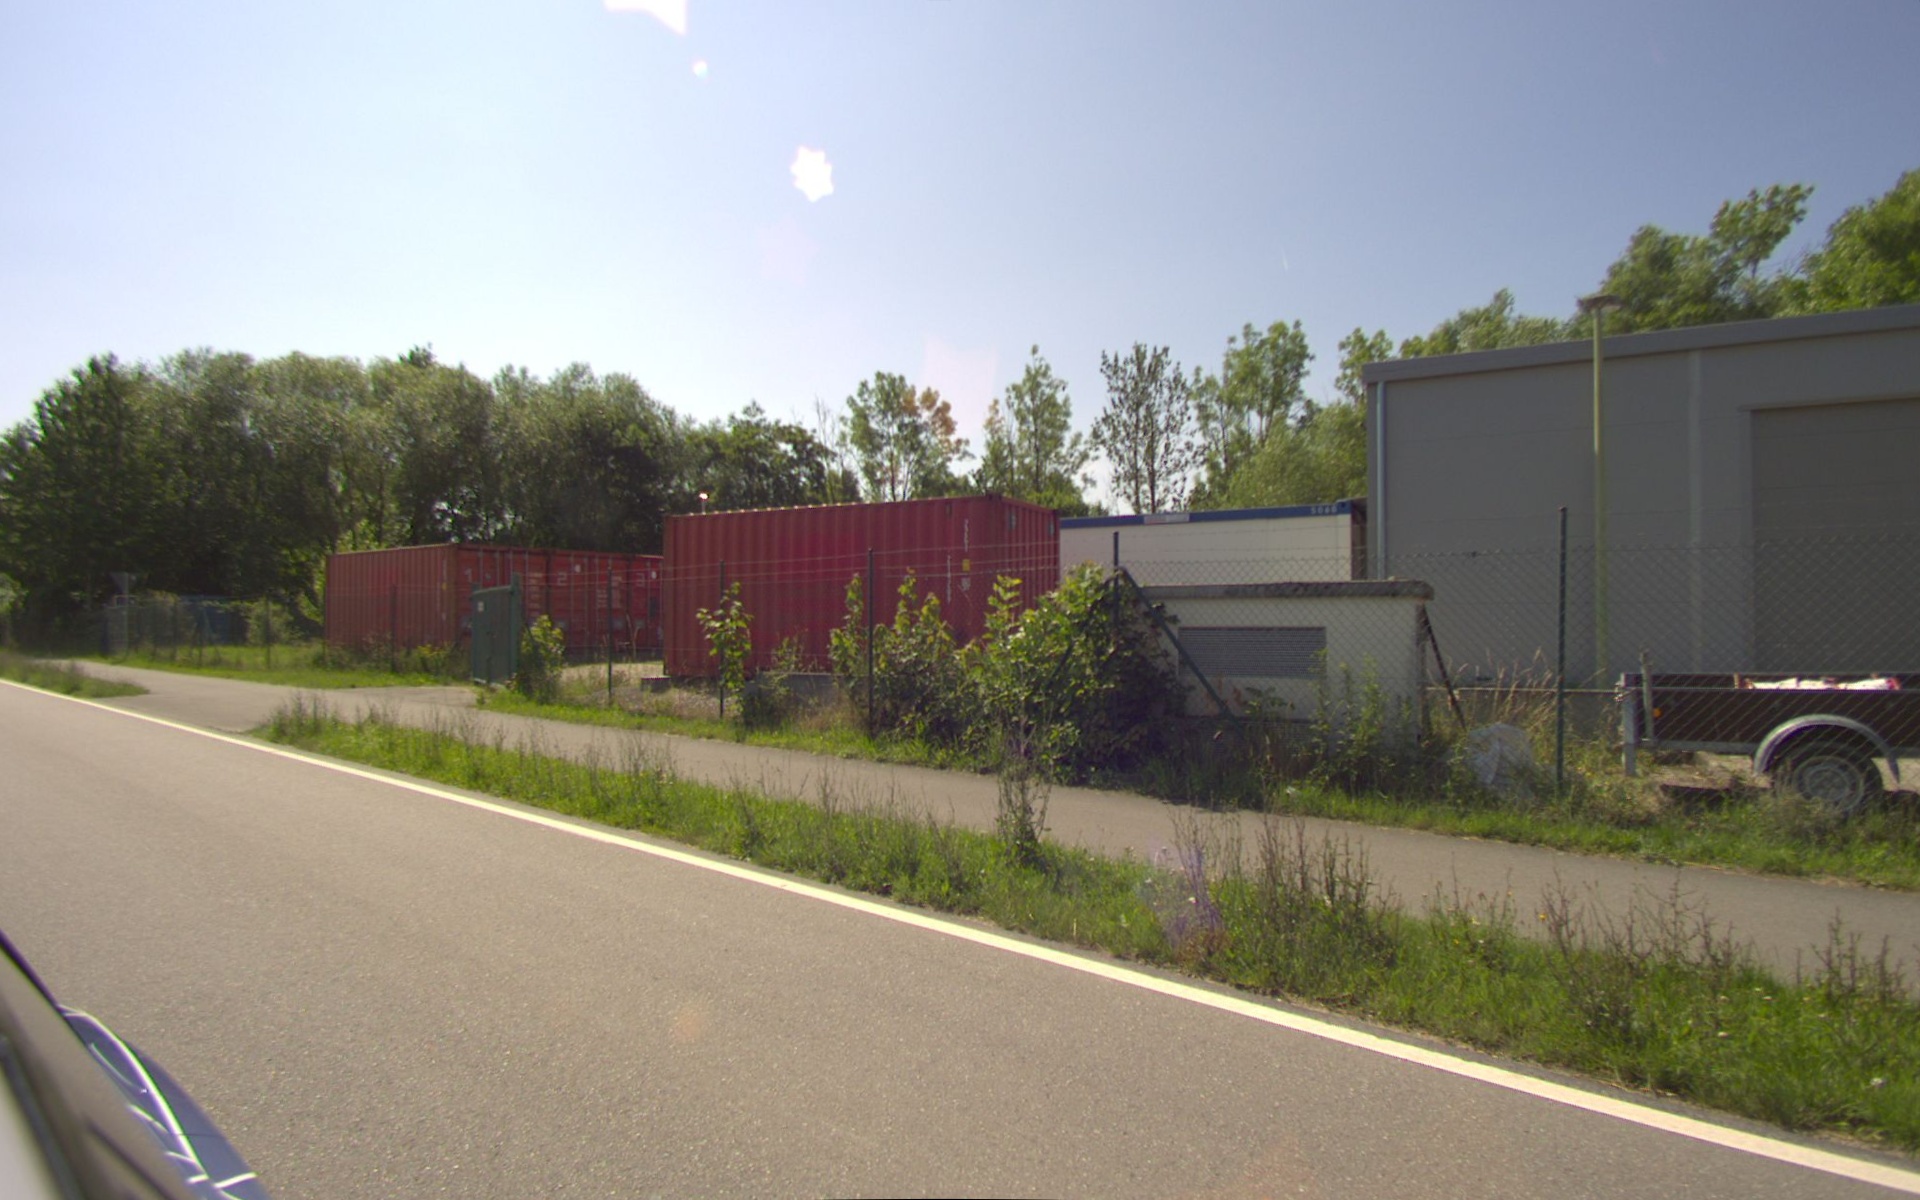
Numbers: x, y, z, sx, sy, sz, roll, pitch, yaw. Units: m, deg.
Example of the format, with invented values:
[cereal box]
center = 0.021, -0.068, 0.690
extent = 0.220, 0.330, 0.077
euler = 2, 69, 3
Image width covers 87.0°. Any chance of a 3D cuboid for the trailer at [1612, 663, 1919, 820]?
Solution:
[trailer]
center = 6.267, 0.887, 6.592
extent = 3.349, 0.873, 1.617
euler = -2, -2, 35
